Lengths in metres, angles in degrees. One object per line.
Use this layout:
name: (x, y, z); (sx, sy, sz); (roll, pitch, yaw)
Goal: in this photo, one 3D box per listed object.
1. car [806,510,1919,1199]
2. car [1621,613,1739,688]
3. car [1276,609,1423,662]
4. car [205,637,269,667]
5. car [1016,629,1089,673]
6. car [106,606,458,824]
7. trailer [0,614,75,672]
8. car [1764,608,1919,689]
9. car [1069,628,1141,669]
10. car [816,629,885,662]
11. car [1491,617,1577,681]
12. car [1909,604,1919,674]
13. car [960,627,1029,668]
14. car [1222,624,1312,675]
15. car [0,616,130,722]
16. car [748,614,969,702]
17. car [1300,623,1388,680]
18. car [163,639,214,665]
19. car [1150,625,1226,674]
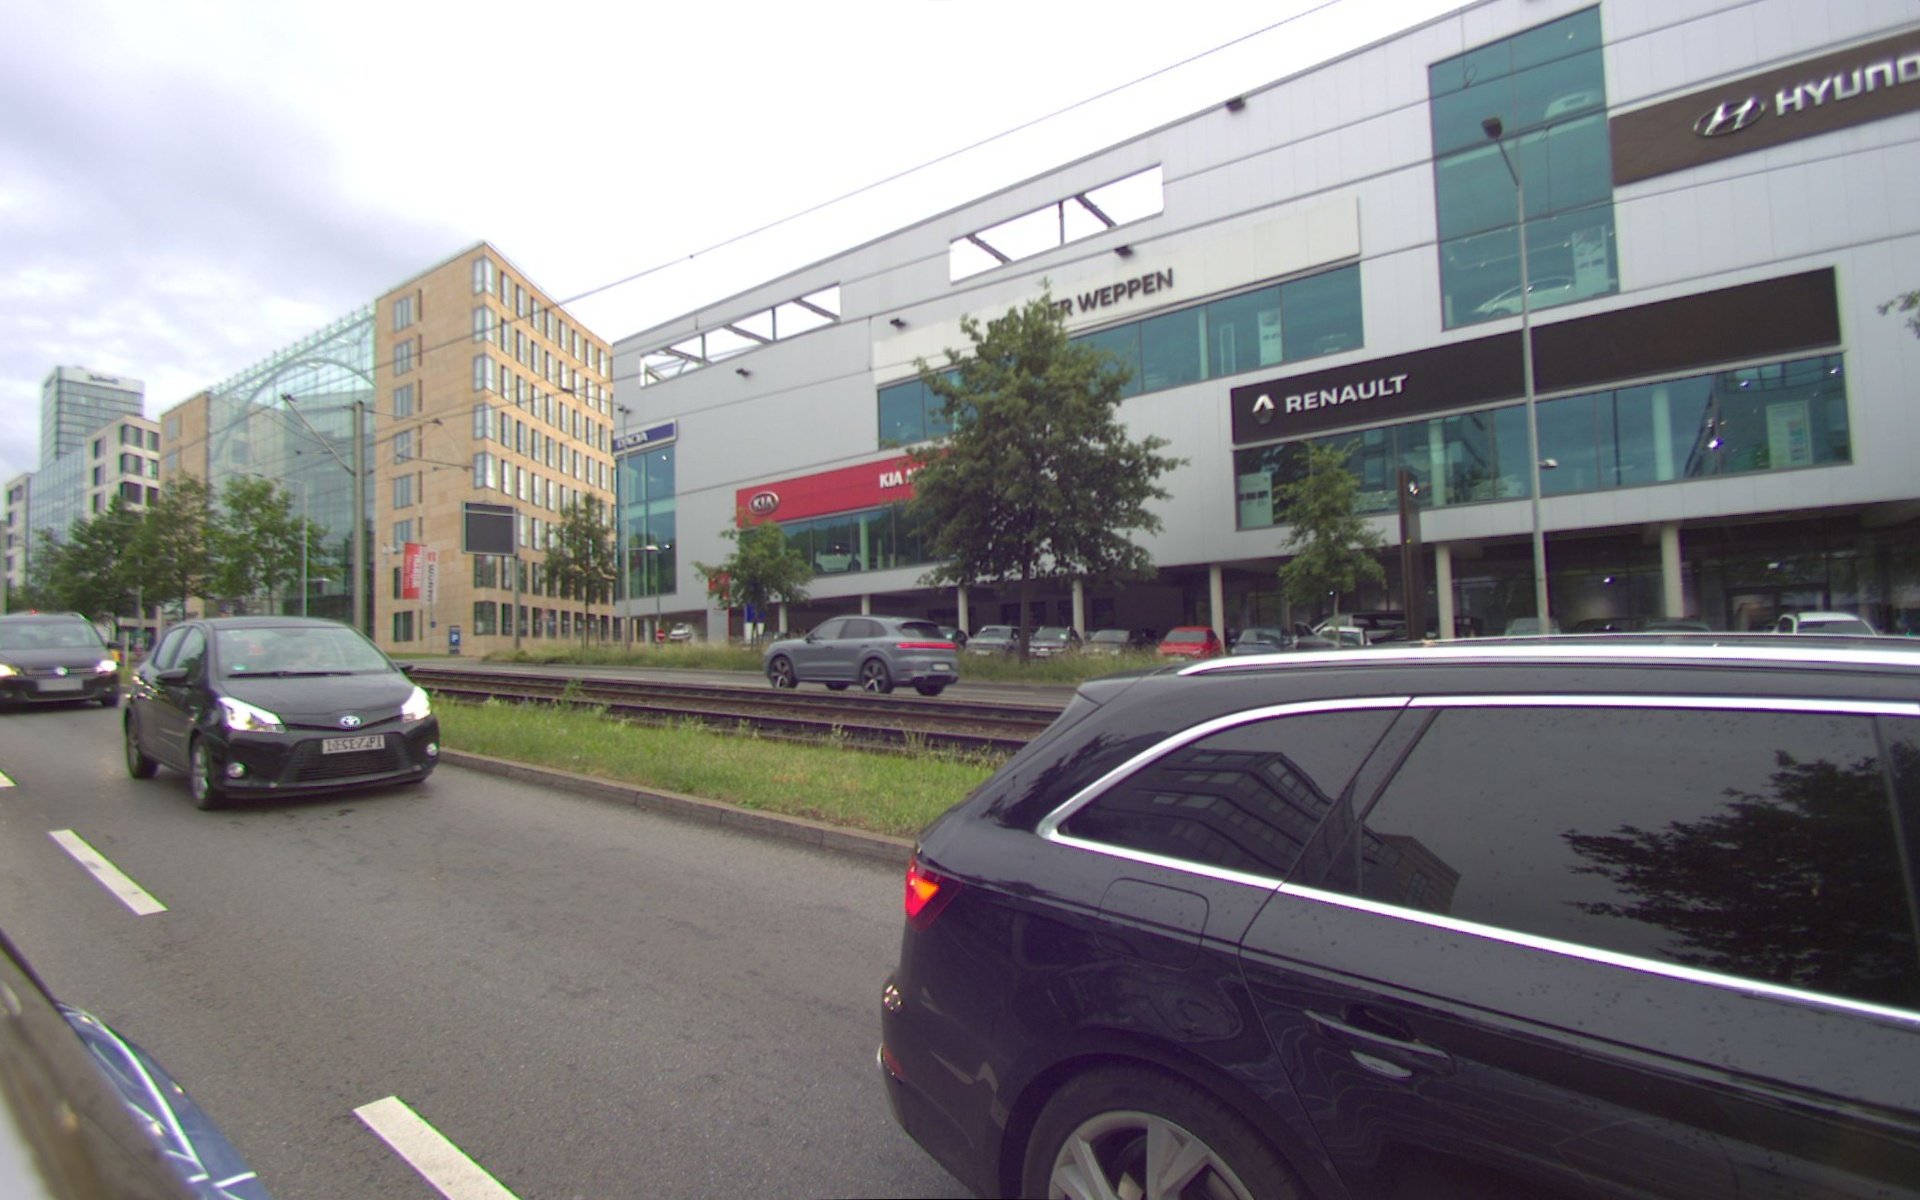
car: (1.923, 0.637, 1.493); (4.511, 1.478, 1.762); (-2, -2, 41)
car: (18.061, 1.209, 25.589); (1.992, 1.562, 4.331); (-1, 1, 30)
car: (13.961, 1.278, 36.502); (4.488, 1.796, 1.997); (-1, -1, 5)
car: (-38.866, 2.789, 54.378); (4.095, 1.524, 1.569); (-1, -4, 37)
car: (3.503, 1.870, 37.787); (1.688, 1.362, 3.498); (-2, 1, 24)
car: (-6.176, 0.856, 9.059); (3.824, 1.544, 1.682); (-2, -1, 41)
trailer: (-75.037, 3.467, 81.410); (13.260, 4.363, 3.104); (-2, -4, 38)
car: (20.600, 1.059, 23.813); (1.992, 1.562, 4.331); (-1, 1, 30)
car: (5.251, 1.715, 36.327); (1.688, 1.190, 3.498); (-2, 1, 24)
car: (-4.780, 1.983, 44.642); (1.685, 1.196, 3.643); (-2, 1, 18)
car: (15.862, 1.288, 27.975); (1.925, 1.470, 3.981); (-1, 1, 30)
car: (22.838, 0.956, 22.192); (1.992, 1.627, 4.331); (-1, 1, 30)
car: (1.404, 1.828, 39.708); (1.686, 1.362, 3.503); (-2, 1, 20)
car: (10.081, 1.564, 33.046); (1.914, 1.362, 4.005); (-1, 1, 30)
car: (-16.158, 1.130, 17.751); (4.315, 1.619, 1.763); (-2, 0, 41)
car: (-2.299, 1.244, 22.187); (4.835, 1.733, 1.974); (-2, -4, 39)
car: (11.955, 1.537, 31.350); (1.914, 1.470, 4.005); (-1, 1, 30)
car: (-51.161, 3.431, 67.100); (4.092, 1.593, 1.668); (-2, -2, 37)
car: (7.818, 1.642, 34.450); (1.789, 1.362, 3.903); (-2, 1, 24)
